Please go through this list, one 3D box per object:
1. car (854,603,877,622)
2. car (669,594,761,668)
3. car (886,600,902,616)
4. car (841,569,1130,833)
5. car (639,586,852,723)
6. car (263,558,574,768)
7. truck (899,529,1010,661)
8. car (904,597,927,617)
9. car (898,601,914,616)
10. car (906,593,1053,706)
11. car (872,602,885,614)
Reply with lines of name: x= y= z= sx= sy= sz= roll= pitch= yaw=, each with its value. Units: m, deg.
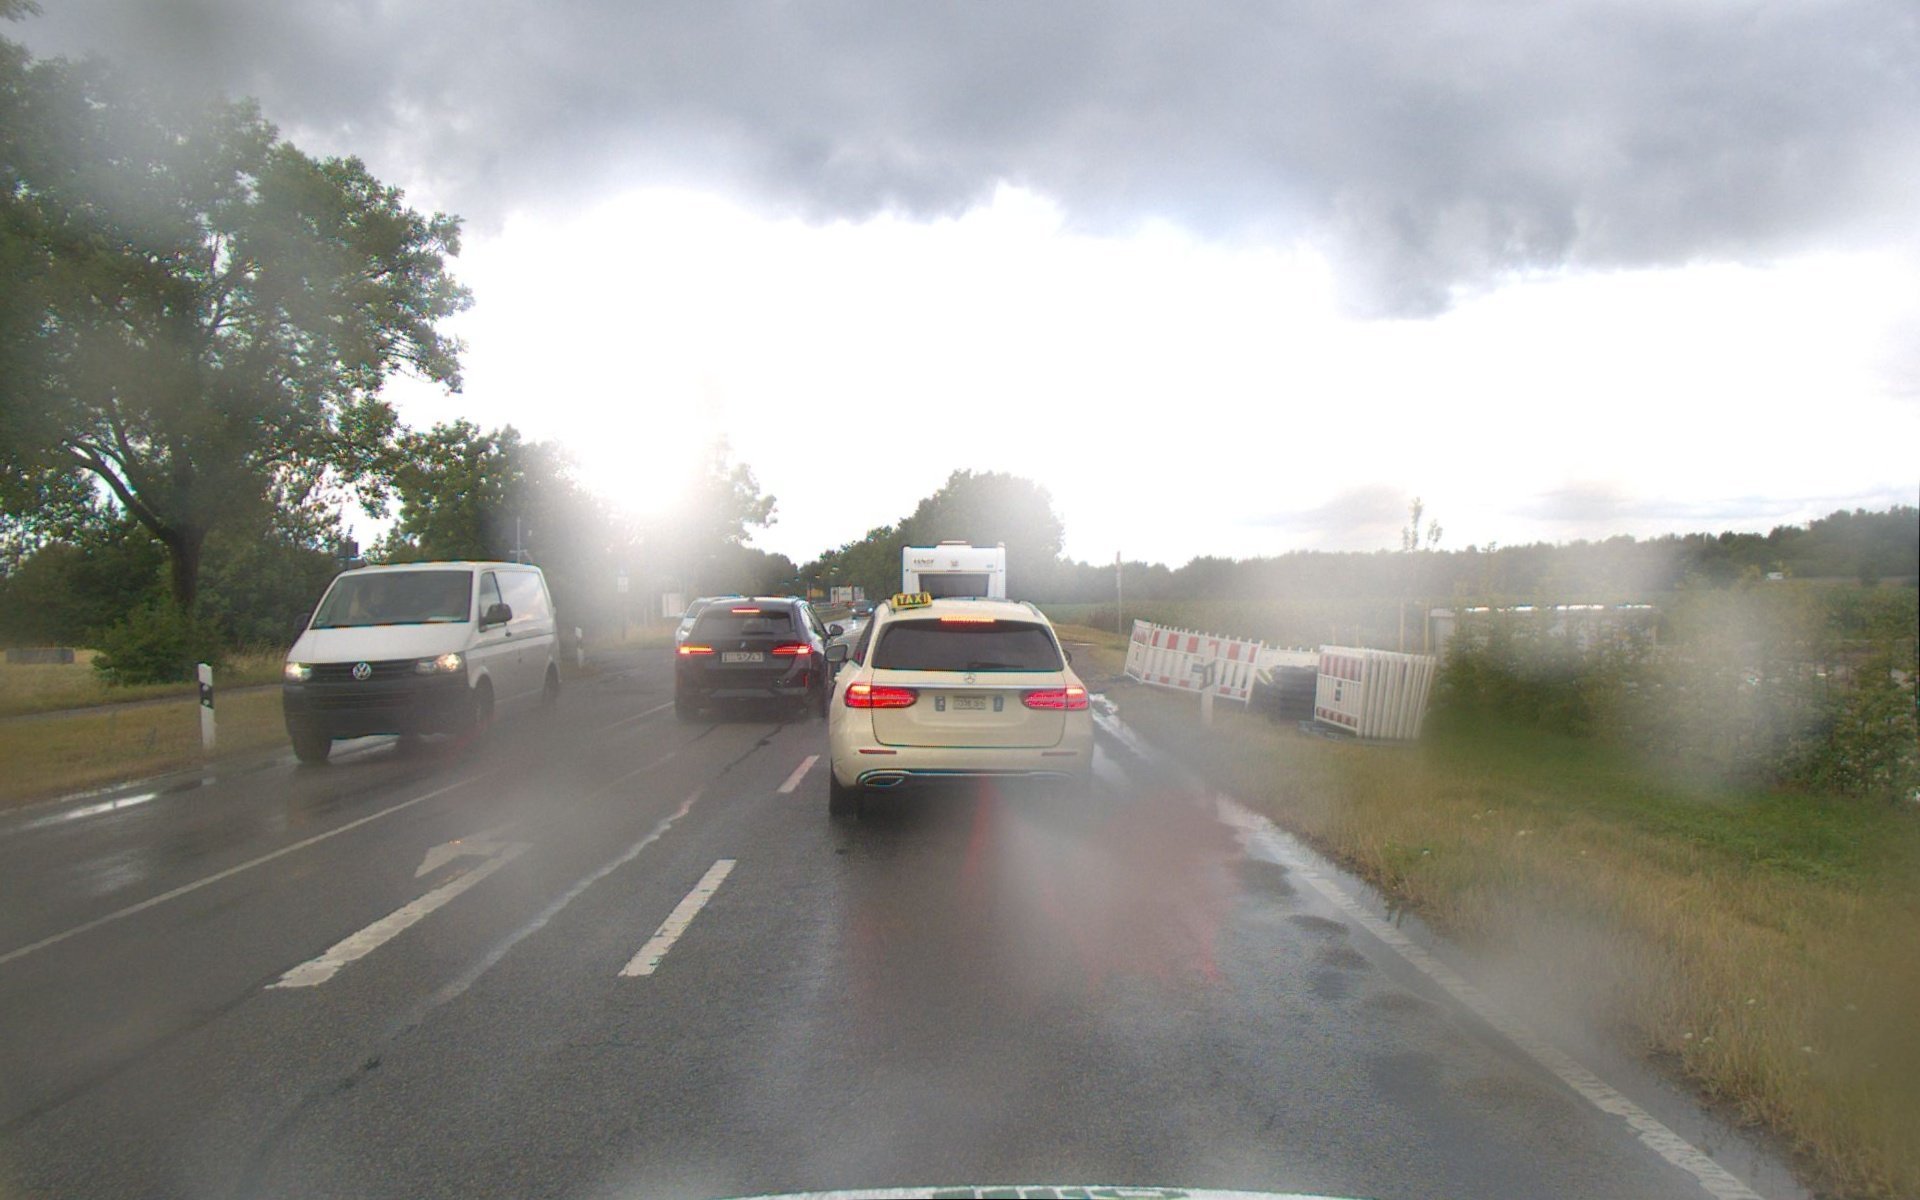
car: x=-7.619 y=0.969 z=133.540 sx=1.685 sy=1.429 sz=4.042 roll=-3 pitch=0 yaw=-2
car: x=-6.183 y=0.742 z=42.106 sx=1.669 sy=1.700 sz=4.155 roll=-3 pitch=0 yaw=0
car: x=-8.337 y=1.029 z=207.411 sx=1.858 sy=1.928 sz=3.840 roll=-1 pitch=0 yaw=-4
car: x=0.123 y=0.640 z=12.345 sx=1.805 sy=1.646 sz=3.999 roll=0 pitch=0 yaw=-1
car: x=-2.666 y=0.654 z=21.732 sx=2.255 sy=1.574 sz=4.631 roll=1 pitch=0 yaw=-1
car: x=-5.697 y=0.607 z=18.078 sx=1.878 sy=1.894 sz=4.683 roll=-3 pitch=0 yaw=-1
truck: x=-0.186 y=-0.107 z=38.986 sx=2.315 sy=2.776 sz=7.312 roll=-1 pitch=0 yaw=-1
car: x=-4.188 y=0.678 z=154.807 sx=1.955 sy=1.803 sz=3.996 roll=-1 pitch=0 yaw=-5
car: x=-5.947 y=0.891 z=182.021 sx=1.648 sy=1.578 sz=3.751 roll=1 pitch=0 yaw=-1
car: x=0.226 y=0.671 z=24.165 sx=1.953 sy=1.488 sz=3.999 roll=1 pitch=0 yaw=-1
car: x=-12.650 y=1.218 z=256.011 sx=1.857 sy=1.872 sz=3.881 roll=-1 pitch=0 yaw=-1
